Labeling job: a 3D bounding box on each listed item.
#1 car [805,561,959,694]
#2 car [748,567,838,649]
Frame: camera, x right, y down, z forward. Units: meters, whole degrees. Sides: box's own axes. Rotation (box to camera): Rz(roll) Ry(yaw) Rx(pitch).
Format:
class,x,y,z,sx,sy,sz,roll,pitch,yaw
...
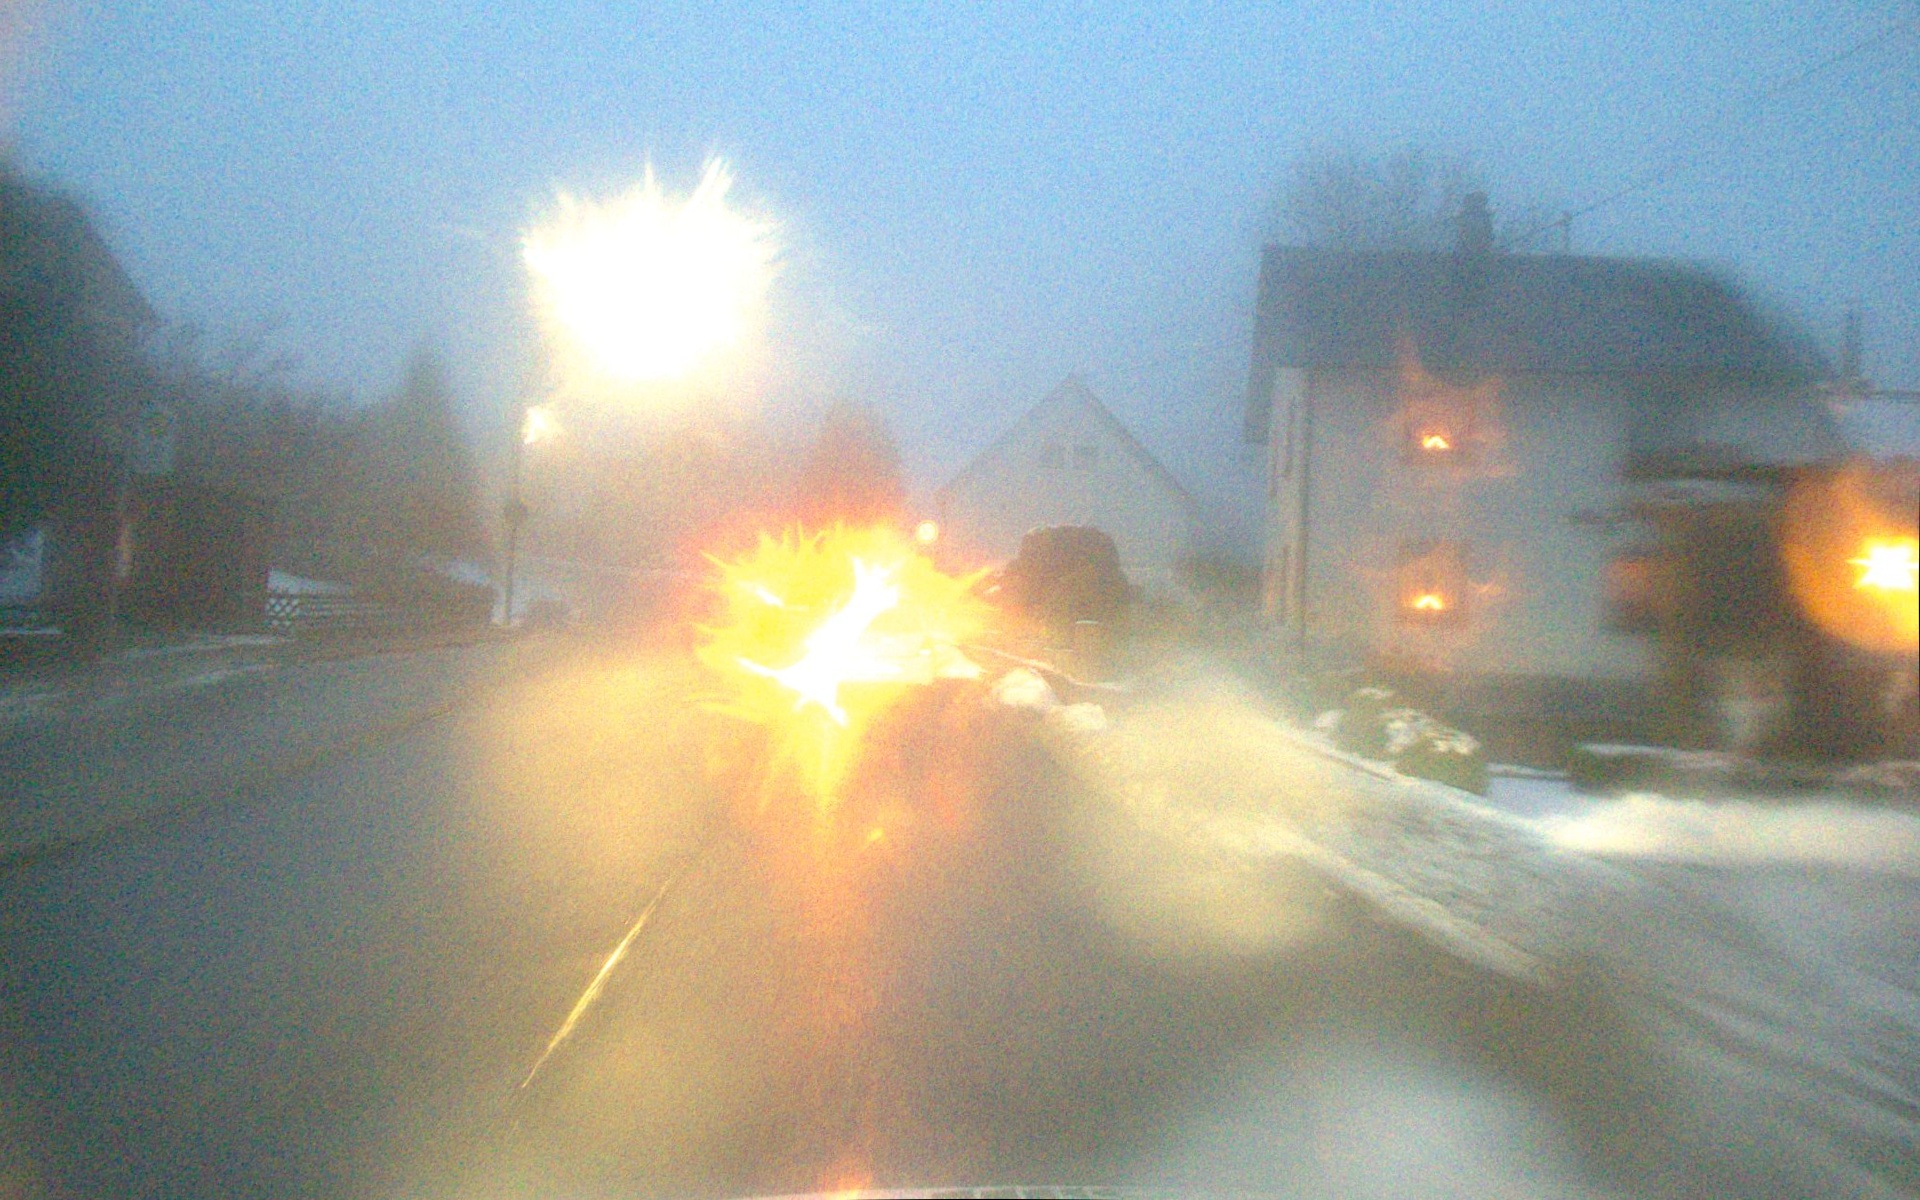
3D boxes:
class,x,y,z,sx,sy,sz,roll,pitch,yaw
car,-1.157,0.368,22.694,1.861,1.637,3.994,1,-1,-6
car,-3.942,0.203,38.585,1.956,1.767,3.872,1,-1,-7
